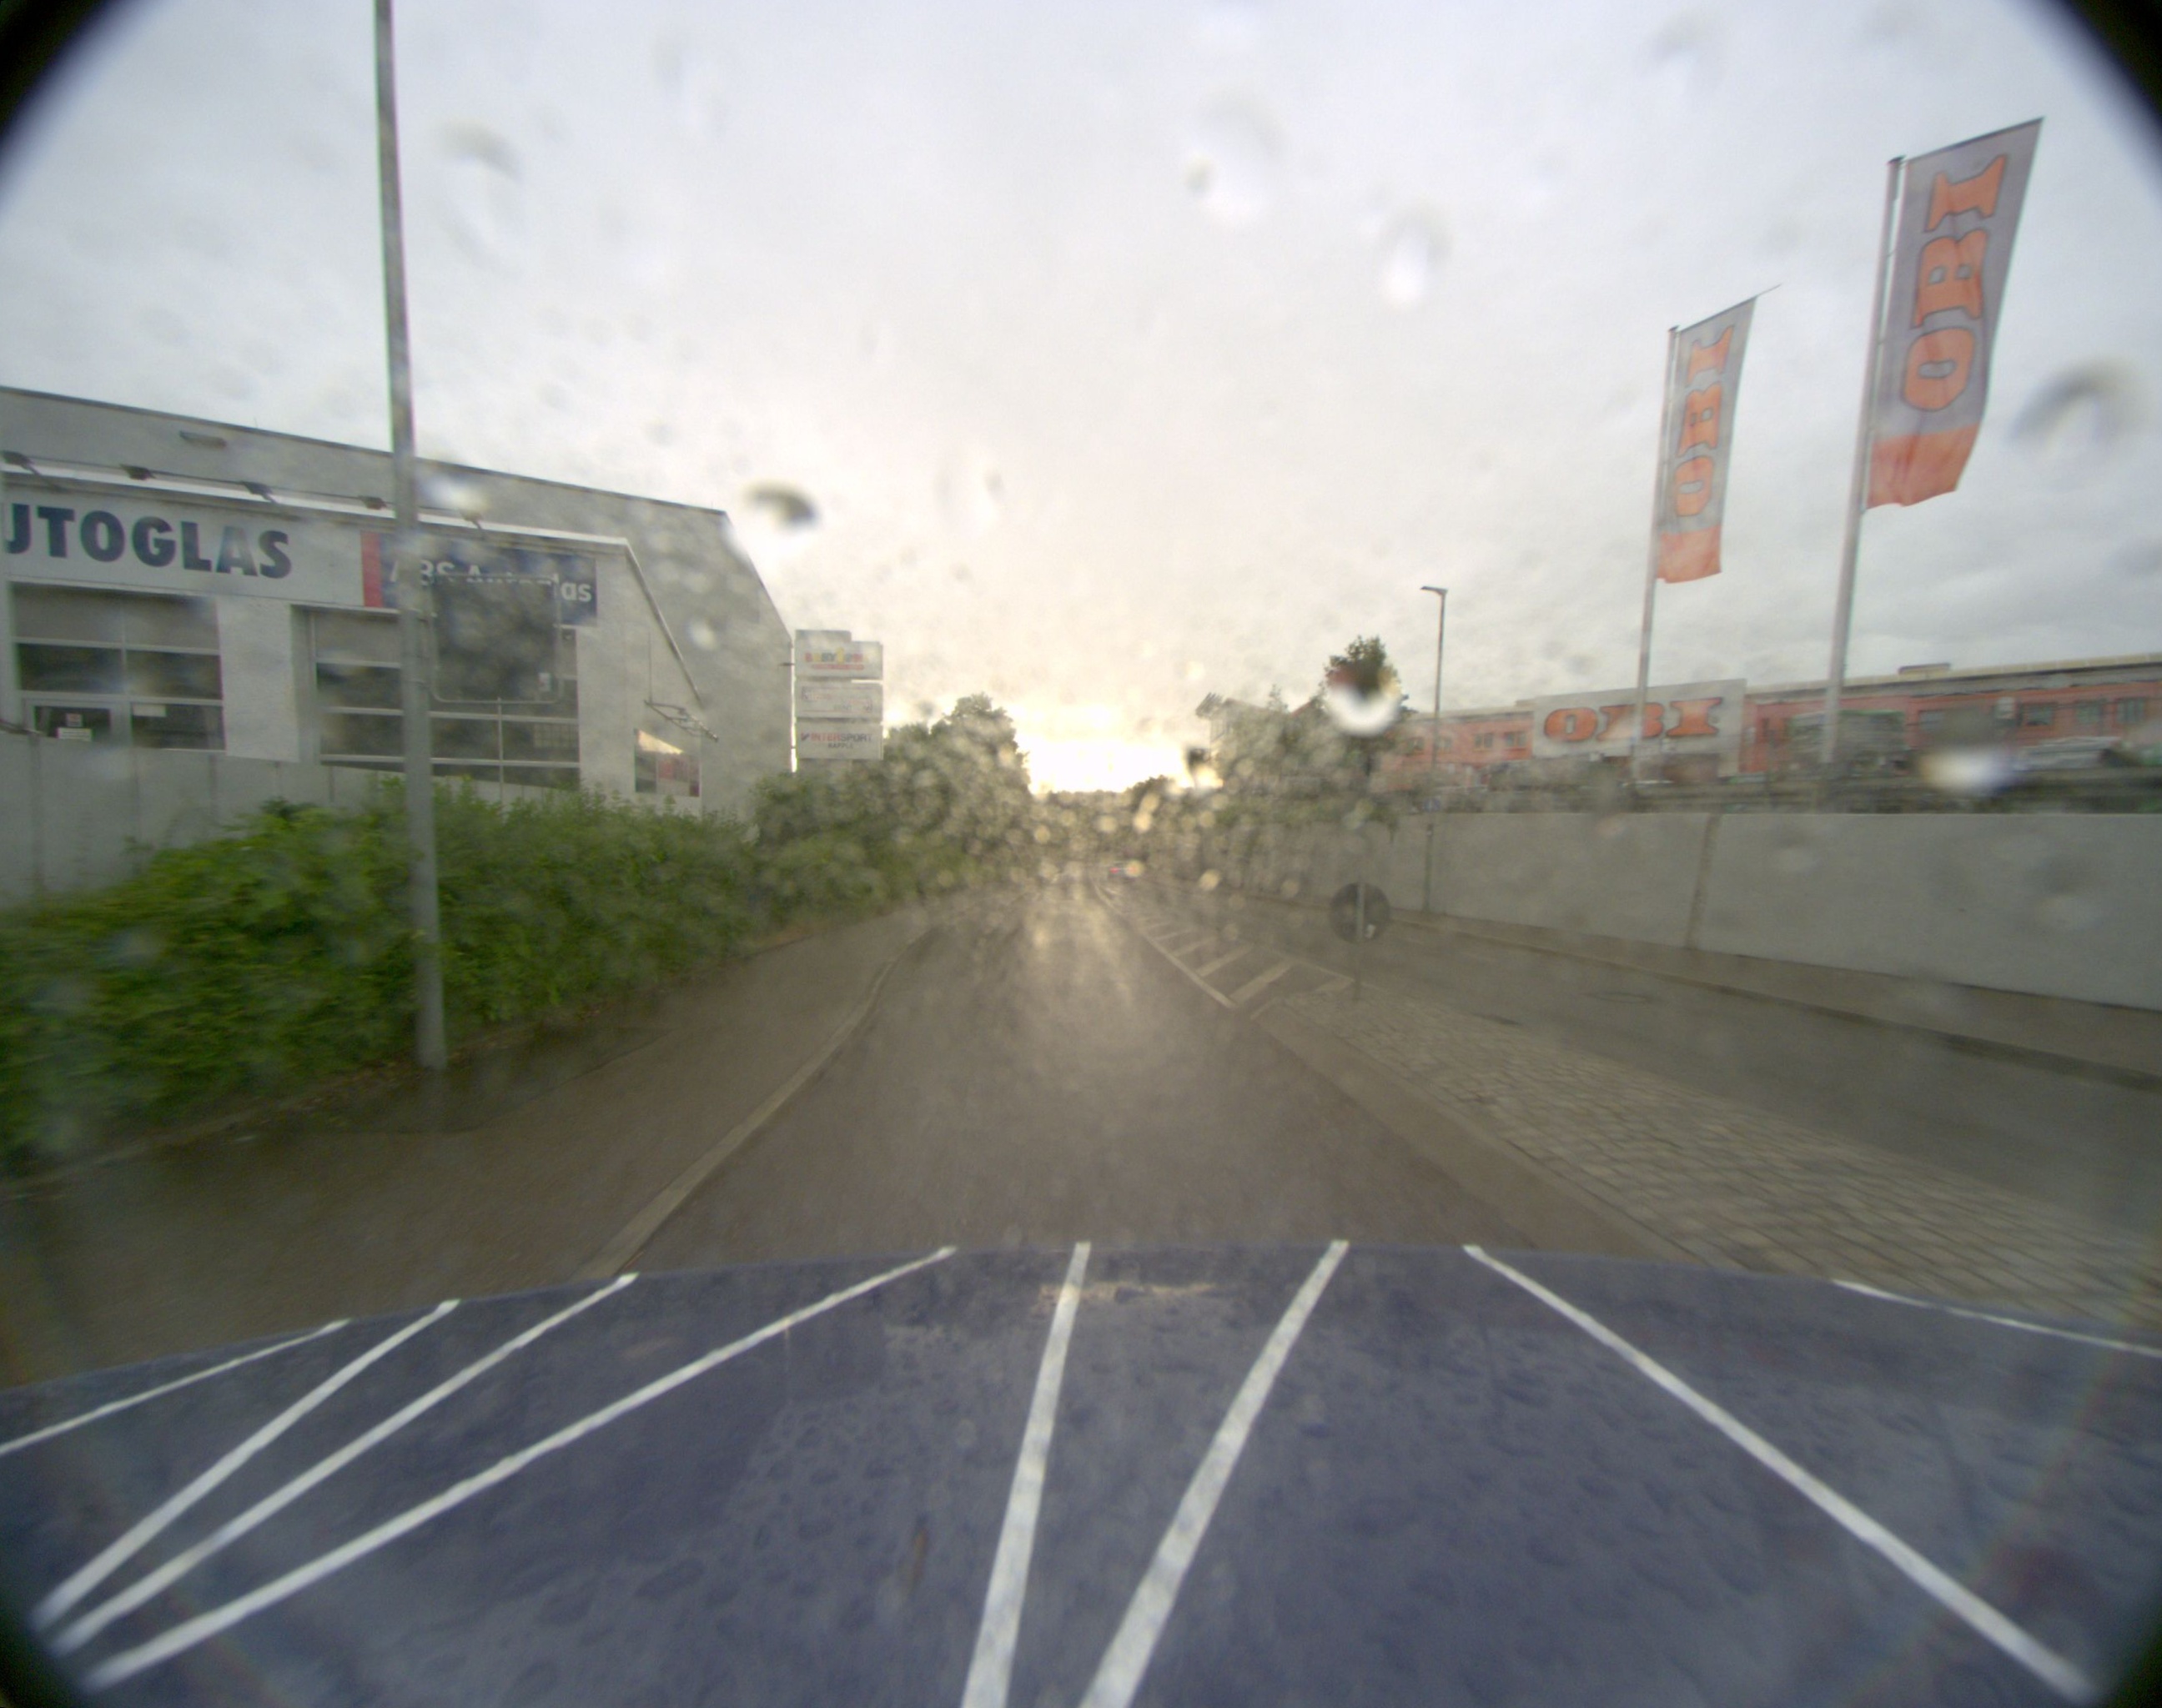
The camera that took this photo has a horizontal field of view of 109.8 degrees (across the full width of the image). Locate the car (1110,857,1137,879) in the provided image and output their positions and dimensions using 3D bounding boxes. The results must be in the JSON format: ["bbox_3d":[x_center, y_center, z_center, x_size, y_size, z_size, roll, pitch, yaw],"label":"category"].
[{"bbox_3d":[3.033,0.954,53.306,1.808,1.455,4.001,1,0,4],"label":"car"}]
